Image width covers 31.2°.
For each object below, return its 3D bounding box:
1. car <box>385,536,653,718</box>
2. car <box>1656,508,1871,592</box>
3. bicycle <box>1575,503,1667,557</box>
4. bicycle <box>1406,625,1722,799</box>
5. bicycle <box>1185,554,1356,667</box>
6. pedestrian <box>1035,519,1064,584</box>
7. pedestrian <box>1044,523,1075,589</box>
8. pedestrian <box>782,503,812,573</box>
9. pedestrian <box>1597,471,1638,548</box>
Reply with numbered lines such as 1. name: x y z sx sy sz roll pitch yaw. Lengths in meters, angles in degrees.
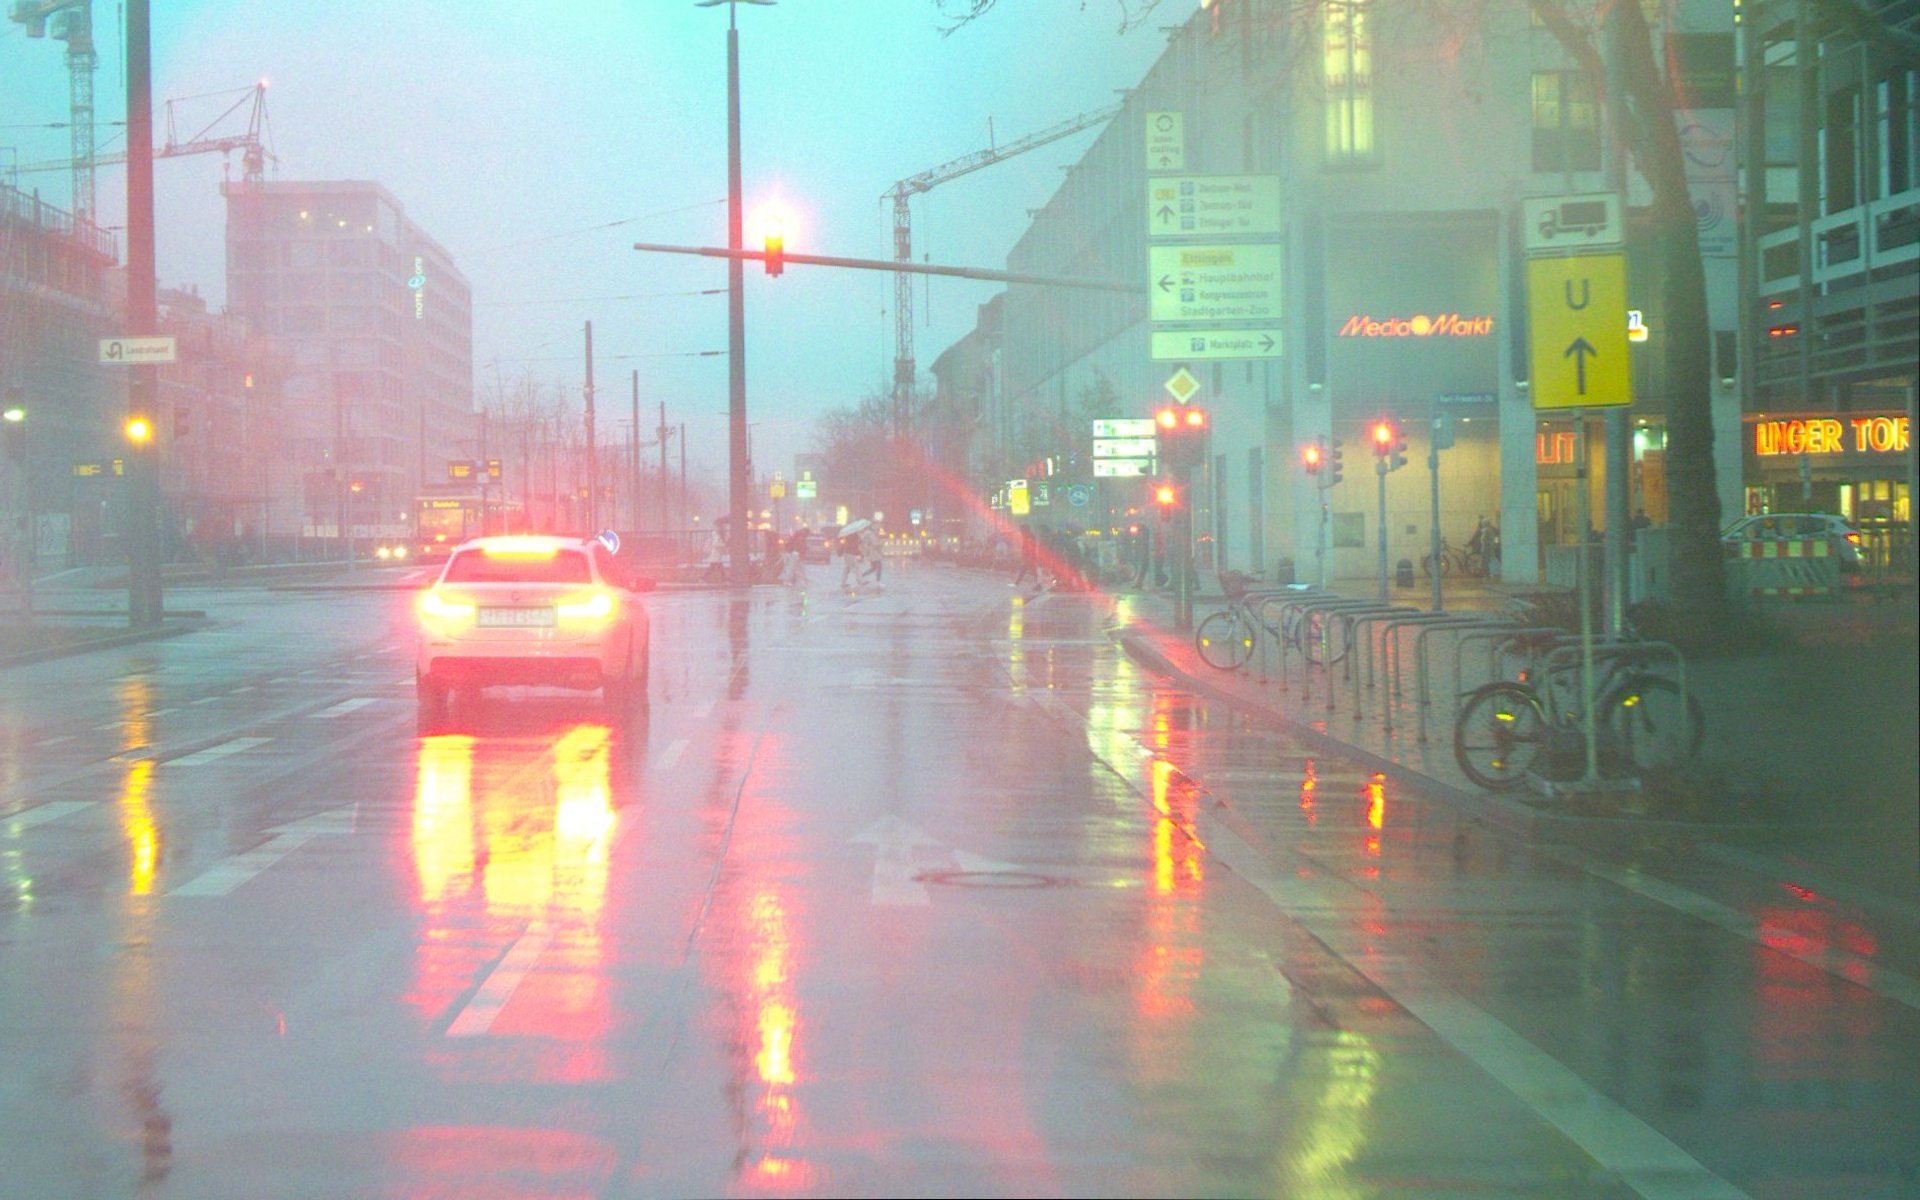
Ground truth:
1. car: -3.964 0.186 31.644 1.909 1.515 4.924 -1 1 -1
2. car: 17.403 -1.091 74.623 4.303 1.755 1.707 -1 1 3
3. bicycle: 13.833 -1.463 71.940 1.846 1.089 0.617 -1 1 15
4. bicycle: 3.700 0.680 21.116 1.787 0.970 0.618 -2 1 -4
5. bicycle: 3.365 0.112 37.307 1.750 1.144 0.436 -3 1 -4
6. pedestrian: 2.230 -1.218 85.838 0.706 1.613 0.680 -1 1 2
7. pedestrian: 2.436 -1.091 84.577 0.706 1.613 0.613 -1 1 -2
8. pedestrian: -4.141 -1.571 87.155 0.702 1.754 0.667 -1 1 0
9. pedestrian: 13.770 -1.899 71.955 0.781 1.590 0.612 0 1 16
